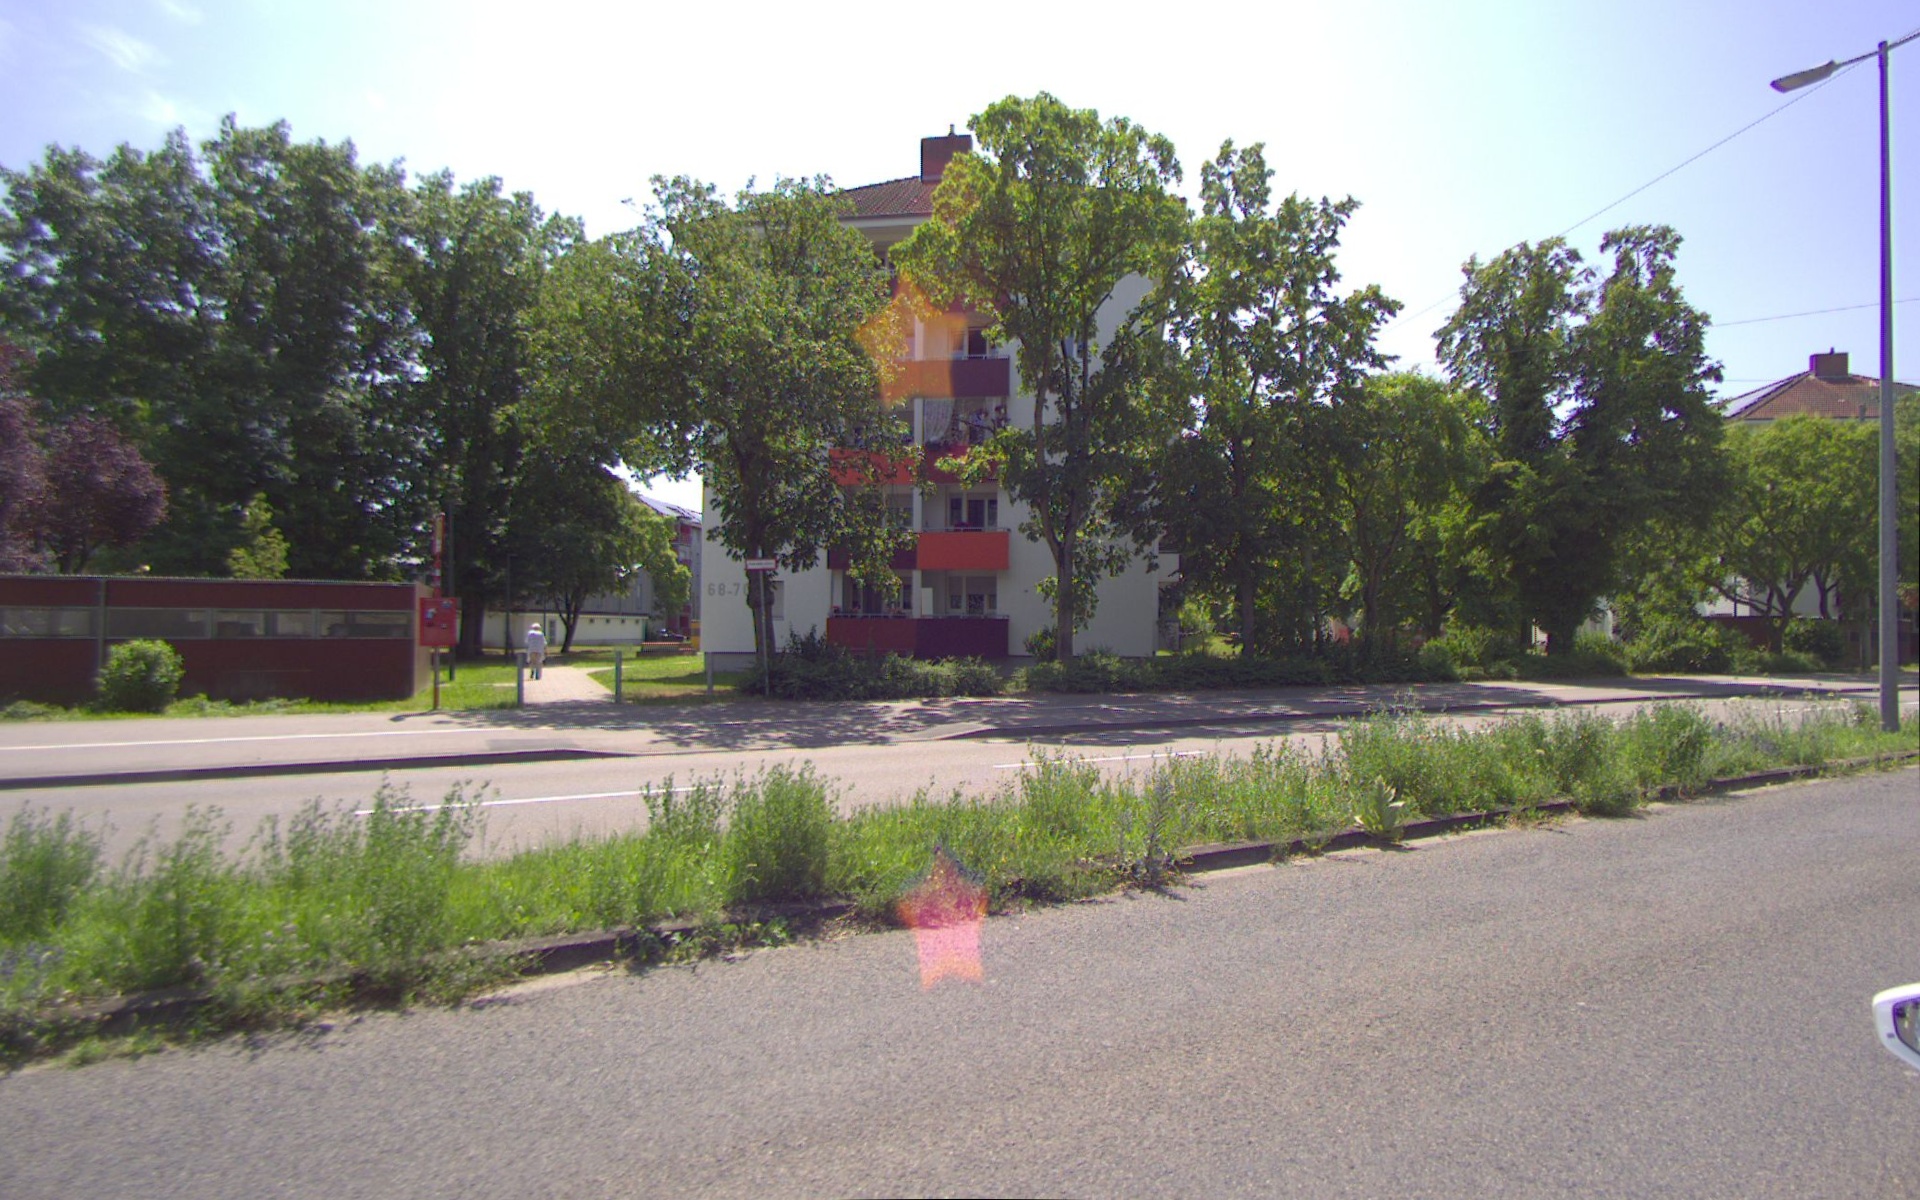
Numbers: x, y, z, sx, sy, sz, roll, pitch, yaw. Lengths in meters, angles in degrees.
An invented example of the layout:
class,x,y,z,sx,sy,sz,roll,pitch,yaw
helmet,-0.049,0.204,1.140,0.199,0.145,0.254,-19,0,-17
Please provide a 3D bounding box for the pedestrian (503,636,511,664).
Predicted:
class,x,y,z,sx,sy,sz,roll,pitch,yaw
pedestrian,-24.926,2.756,55.298,0.355,1.504,0.447,1,-2,-30

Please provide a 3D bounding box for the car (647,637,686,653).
class,x,y,z,sx,sy,sz,roll,pitch,yaw
car,-31.531,4.861,108.070,3.933,1.525,1.762,2,-1,-15

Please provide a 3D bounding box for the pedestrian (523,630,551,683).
class,x,y,z,sx,sy,sz,roll,pitch,yaw
pedestrian,-11.724,1.556,27.864,0.679,1.450,0.471,1,-2,-28

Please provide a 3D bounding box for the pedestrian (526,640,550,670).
class,x,y,z,sx,sy,sz,roll,pitch,yaw
pedestrian,-17.040,2.235,40.594,0.887,1.191,0.400,1,-2,-25
